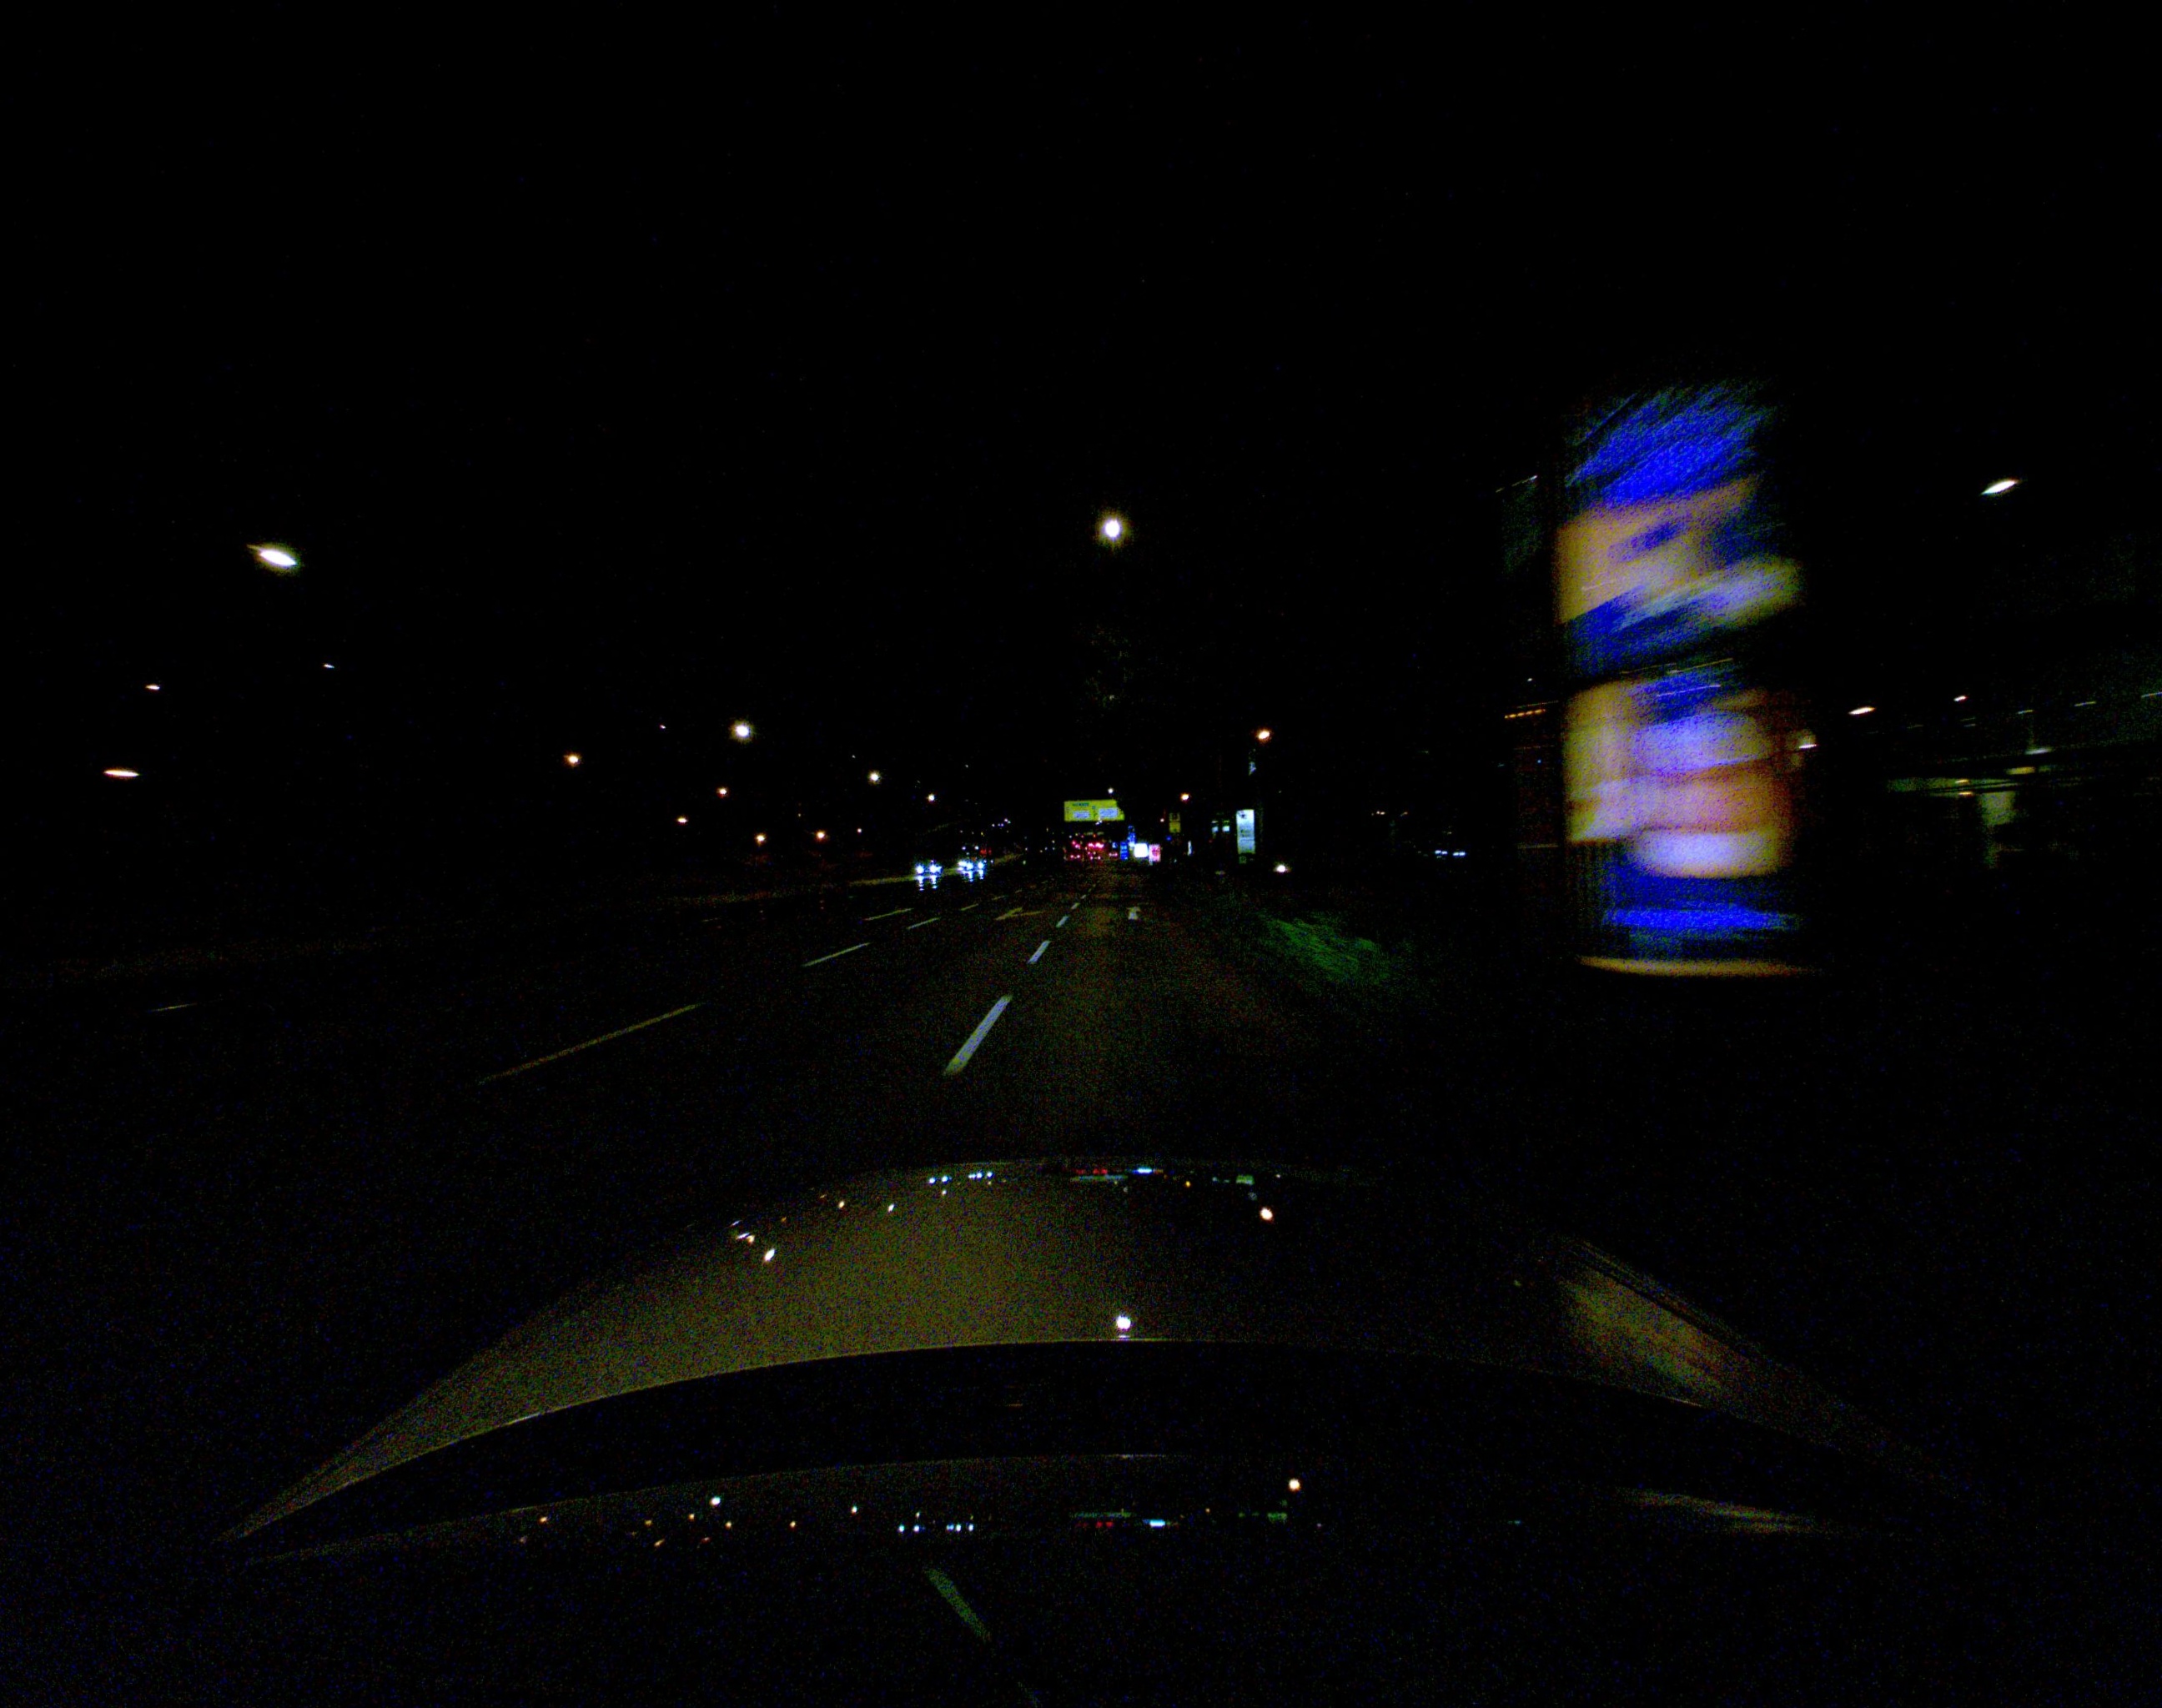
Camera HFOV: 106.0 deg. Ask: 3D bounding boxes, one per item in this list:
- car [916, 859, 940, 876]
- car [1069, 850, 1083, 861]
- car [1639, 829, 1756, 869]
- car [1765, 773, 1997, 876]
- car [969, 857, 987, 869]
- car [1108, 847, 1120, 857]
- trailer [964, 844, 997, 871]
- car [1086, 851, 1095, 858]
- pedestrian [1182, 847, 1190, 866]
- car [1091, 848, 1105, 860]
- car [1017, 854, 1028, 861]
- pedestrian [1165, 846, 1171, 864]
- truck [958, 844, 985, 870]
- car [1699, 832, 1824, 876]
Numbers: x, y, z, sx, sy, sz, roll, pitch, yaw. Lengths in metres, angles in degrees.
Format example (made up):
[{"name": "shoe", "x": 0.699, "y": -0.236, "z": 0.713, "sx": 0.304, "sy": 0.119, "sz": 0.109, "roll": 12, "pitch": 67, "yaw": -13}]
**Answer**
[{"name": "car", "x": -16.849, "y": 1.494, "z": 89.935, "sx": 1.856, "sy": 1.750, "sz": 3.702, "roll": -1, "pitch": 1, "yaw": 1}, {"name": "car", "x": -0.981, "y": 0.238, "z": 158.432, "sx": 2.252, "sy": 2.013, "sz": 4.833, "roll": -1, "pitch": 1, "yaw": 5}, {"name": "car", "x": 18.994, "y": -0.166, "z": 25.089, "sx": 3.439, "sy": 1.094, "sz": 1.312, "roll": -2, "pitch": 1, "yaw": -22}, {"name": "car", "x": 16.077, "y": -0.589, "z": 16.396, "sx": 3.779, "sy": 1.862, "sz": 1.986, "roll": -2, "pitch": 1, "yaw": -22}, {"name": "car", "x": -14.075, "y": 1.257, "z": 111.811, "sx": 1.904, "sy": 1.473, "sz": 3.773, "roll": -1, "pitch": 1, "yaw": 1}, {"name": "car", "x": 7.589, "y": -0.491, "z": 184.636, "sx": 2.416, "sy": 2.113, "sz": 4.833, "roll": -1, "pitch": 1, "yaw": 5}, {"name": "trailer", "x": -16.176, "y": 0.501, "z": 131.768, "sx": 2.982, "sy": 4.000, "sz": 13.963, "roll": -1, "pitch": 1, "yaw": 2}, {"name": "car", "x": 2.267, "y": 0.136, "z": 191.511, "sx": 1.986, "sy": 1.553, "sz": 4.002, "roll": -2, "pitch": 0, "yaw": 2}, {"name": "pedestrian", "x": 11.532, "y": 0.233, "z": 89.447, "sx": 0.759, "sy": 2.063, "sz": 0.644, "roll": -1, "pitch": 0, "yaw": 2}, {"name": "car", "x": 3.245, "y": 0.053, "z": 152.944, "sx": 2.345, "sy": 2.129, "sz": 4.833, "roll": -1, "pitch": 1, "yaw": 5}, {"name": "car", "x": -11.887, "y": 0.716, "z": 165.983, "sx": 1.803, "sy": 1.473, "sz": 3.773, "roll": -1, "pitch": 1, "yaw": 1}, {"name": "pedestrian", "x": 11.496, "y": 0.129, "z": 107.572, "sx": 0.741, "sy": 2.435, "sz": 0.781, "roll": -1, "pitch": 0, "yaw": 4}, {"name": "truck", "x": -16.542, "y": 0.437, "z": 123.411, "sx": 3.029, "sy": 3.819, "sz": 4.938, "roll": -1, "pitch": 1, "yaw": 2}, {"name": "car", "x": 18.738, "y": -0.019, "z": 22.425, "sx": 3.174, "sy": 1.085, "sz": 1.292, "roll": -2, "pitch": 1, "yaw": -22}]
